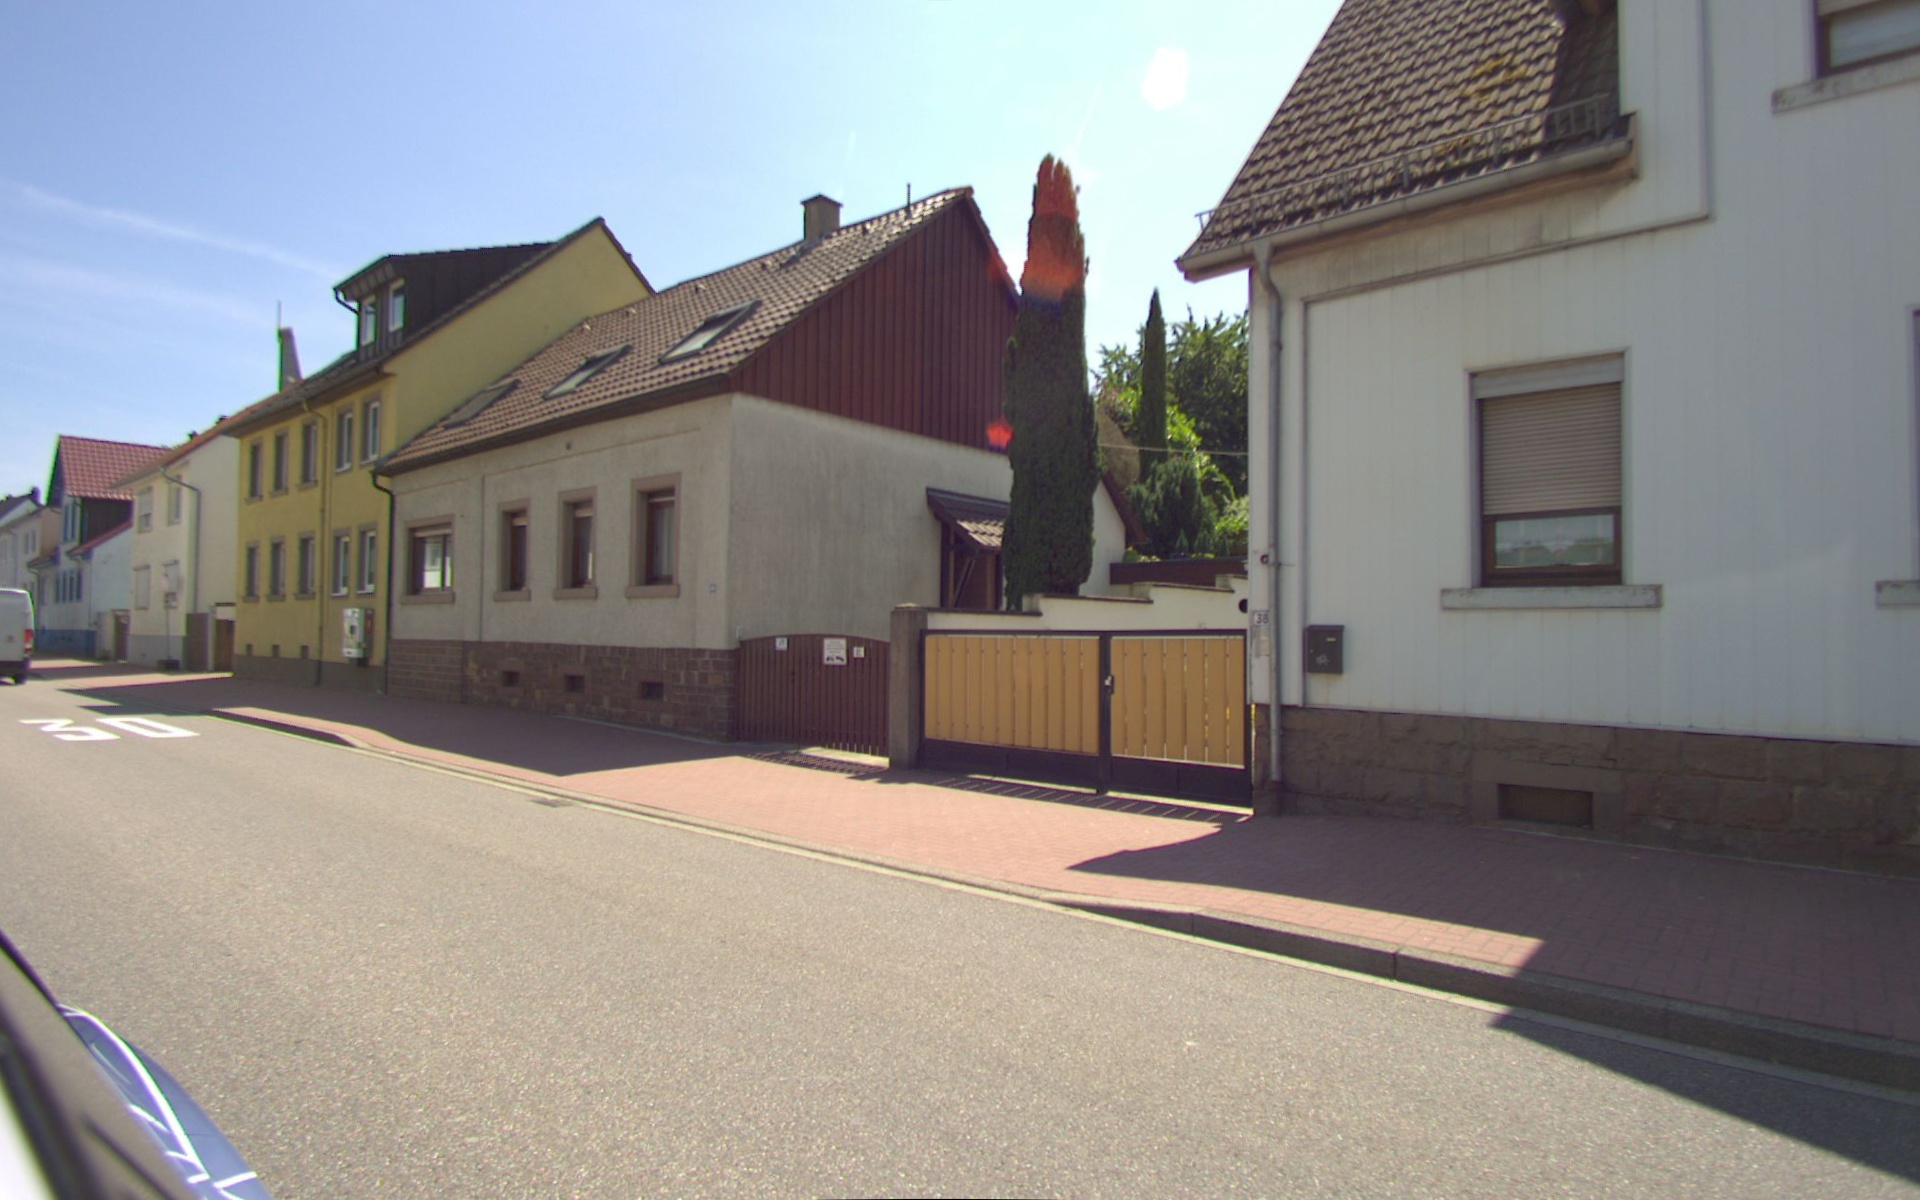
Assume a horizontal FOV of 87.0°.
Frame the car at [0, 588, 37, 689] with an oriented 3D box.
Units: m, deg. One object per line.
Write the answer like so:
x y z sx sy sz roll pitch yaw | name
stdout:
-26.506 0.993 26.934 4.910 2.552 2.089 -2 -5 40 | car
